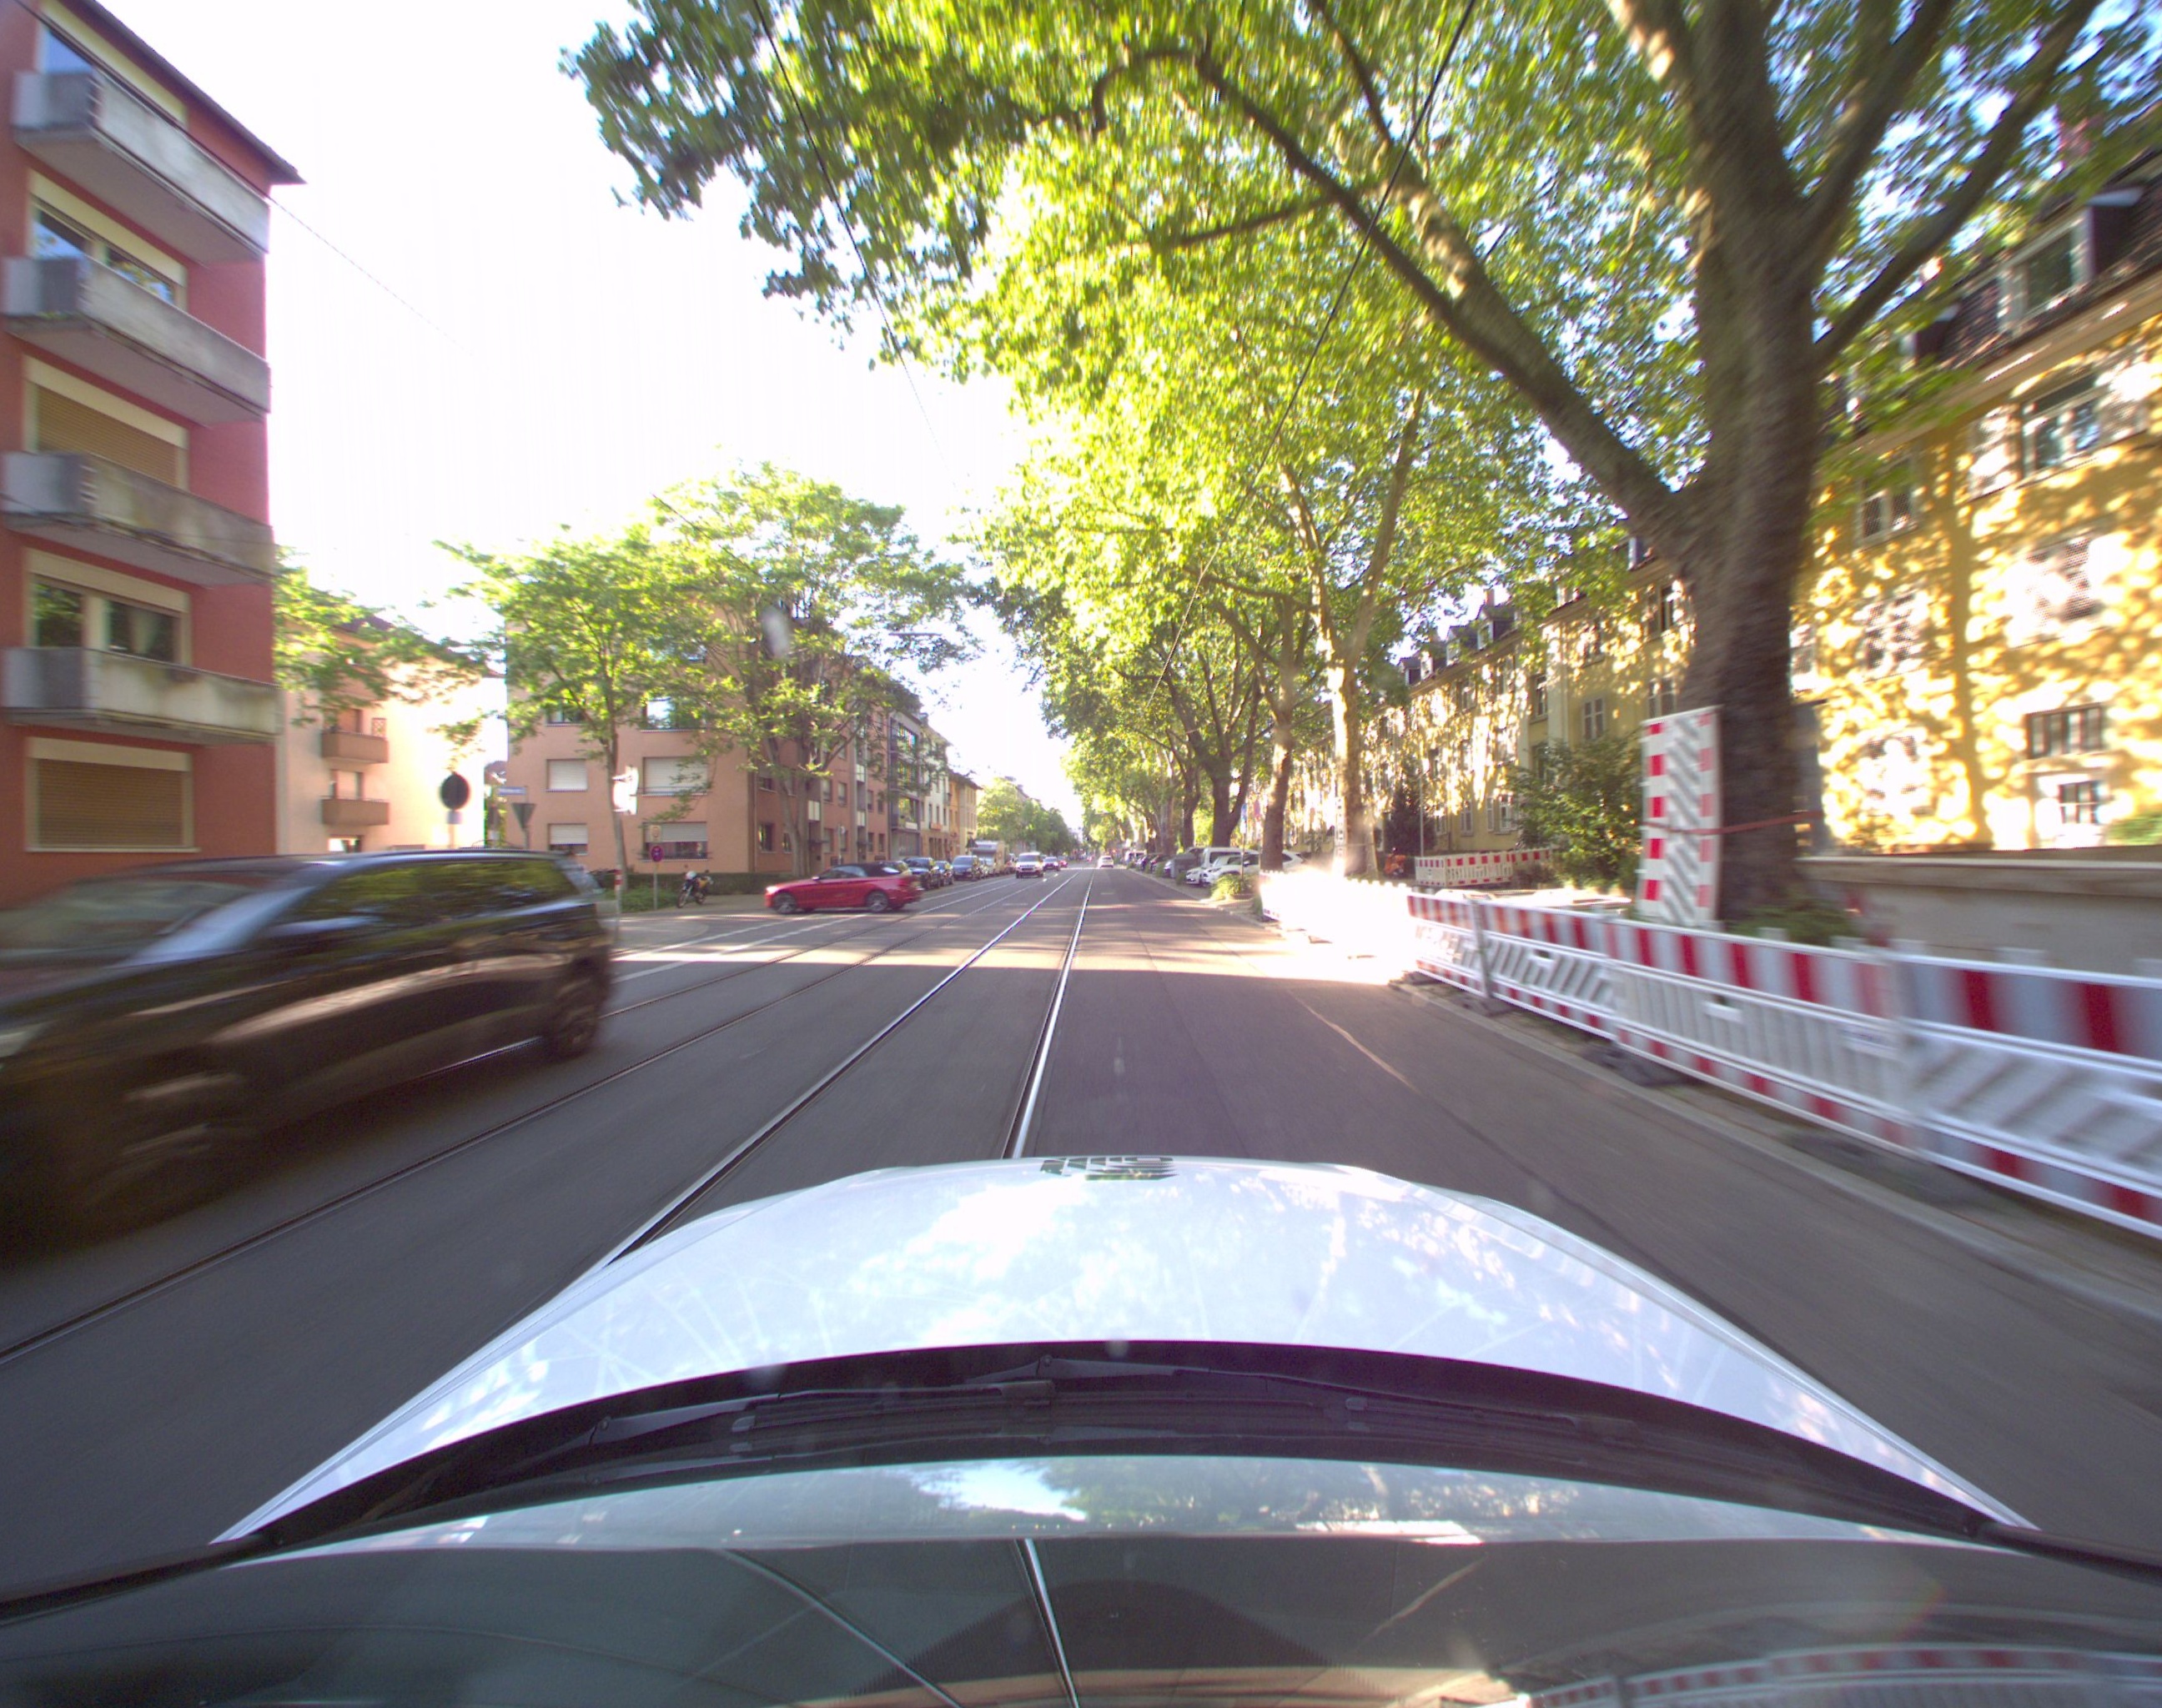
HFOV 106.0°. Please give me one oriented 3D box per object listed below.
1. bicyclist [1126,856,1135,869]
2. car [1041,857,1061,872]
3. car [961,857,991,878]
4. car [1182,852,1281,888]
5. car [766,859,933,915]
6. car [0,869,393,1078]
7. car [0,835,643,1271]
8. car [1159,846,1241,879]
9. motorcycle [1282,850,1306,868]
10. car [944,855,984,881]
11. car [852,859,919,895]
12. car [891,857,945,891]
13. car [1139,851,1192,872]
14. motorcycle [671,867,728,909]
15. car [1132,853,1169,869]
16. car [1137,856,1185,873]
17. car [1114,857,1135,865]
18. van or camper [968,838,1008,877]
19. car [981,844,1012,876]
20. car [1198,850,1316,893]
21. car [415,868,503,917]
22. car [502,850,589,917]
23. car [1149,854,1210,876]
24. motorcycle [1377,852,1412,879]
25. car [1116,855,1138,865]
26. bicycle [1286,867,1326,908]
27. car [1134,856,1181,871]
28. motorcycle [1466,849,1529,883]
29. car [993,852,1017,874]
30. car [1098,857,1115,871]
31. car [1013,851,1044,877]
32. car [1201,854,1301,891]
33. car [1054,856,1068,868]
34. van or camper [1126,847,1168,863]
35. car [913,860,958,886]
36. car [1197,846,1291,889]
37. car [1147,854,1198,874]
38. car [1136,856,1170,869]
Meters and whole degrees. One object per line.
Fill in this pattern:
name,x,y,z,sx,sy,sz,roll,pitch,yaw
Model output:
bicyclist,6.471,1.115,106.865,1.045,1.705,1.055,-1,0,-9
car,-3.124,1.083,84.499,1.769,1.458,4.203,-2,0,1
car,-7.999,0.997,62.276,1.704,1.488,3.861,2,0,0
car,6.843,0.702,37.370,4.350,1.542,1.804,-1,0,4
car,-6.589,0.982,23.387,4.201,1.390,1.801,-3,-4,6
car,-9.064,0.942,7.693,1.719,1.483,3.930,2,0,0
car,-4.843,0.756,4.913,1.846,1.600,4.466,-2,0,2
car,7.368,0.509,50.837,4.822,1.963,2.064,-1,0,-2
motorcycle,17.674,0.414,67.526,1.798,1.361,0.622,-4,0,-2
car,-8.046,0.943,56.528,1.946,1.686,5.070,1,0,0
car,-8.662,0.996,36.411,1.799,1.478,4.092,1,0,2
car,-8.269,0.977,41.759,1.775,1.610,4.587,2,0,0
car,7.284,0.664,70.286,4.475,1.602,2.030,-3,-1,4
motorcycle,-13.370,1.165,28.645,0.899,1.280,2.348,-1,2,-1
car,7.711,0.798,90.247,3.912,1.670,1.960,-1,0,-1
car,7.312,0.930,74.763,4.282,1.439,1.947,-1,0,-1
car,8.419,1.306,156.658,3.972,1.521,2.000,-1,0,1
van or camper,-7.787,0.259,68.788,2.328,3.041,6.400,2,0,2
car,-7.777,0.532,75.402,2.079,2.731,5.310,2,0,1
car,6.627,0.670,30.976,4.075,1.521,1.916,-1,-1,-1
car,-21.383,1.260,28.130,1.758,1.518,3.583,-1,0,-27
car,-18.506,0.968,28.367,2.004,2.123,4.681,0,-1,-27
car,7.170,0.805,59.742,4.232,1.484,1.898,-1,0,0
motorcycle,14.177,0.498,36.912,0.712,1.153,2.264,-2,0,1
car,8.679,1.170,154.349,3.972,1.785,2.000,-1,0,1
bicycle,6.153,0.898,22.360,0.633,1.070,1.809,-1,0,1
car,7.775,0.927,83.151,4.670,1.446,1.892,-1,0,1
motorcycle,15.772,0.441,30.865,1.983,1.250,0.713,-1,0,0
car,-7.567,0.859,81.457,1.946,2.091,5.247,2,0,-1
car,3.119,1.237,99.375,1.911,1.584,3.791,-2,0,1
car,-3.817,0.709,59.831,1.885,1.832,4.896,-1,0,1
car,6.900,0.735,33.380,3.826,1.433,1.854,-1,0,5
car,-2.630,1.039,108.884,1.717,1.437,4.069,-2,0,1
van or camper,9.227,0.081,114.288,5.544,2.013,2.242,-1,2,-4
car,-8.321,1.064,46.910,1.732,1.401,4.382,1,0,0
car,7.002,0.584,35.343,3.826,1.772,1.919,-1,0,5
car,7.139,0.791,63.651,3.825,1.509,1.711,-1,0,0
car,7.752,0.928,88.021,3.636,1.378,1.890,-1,0,1
